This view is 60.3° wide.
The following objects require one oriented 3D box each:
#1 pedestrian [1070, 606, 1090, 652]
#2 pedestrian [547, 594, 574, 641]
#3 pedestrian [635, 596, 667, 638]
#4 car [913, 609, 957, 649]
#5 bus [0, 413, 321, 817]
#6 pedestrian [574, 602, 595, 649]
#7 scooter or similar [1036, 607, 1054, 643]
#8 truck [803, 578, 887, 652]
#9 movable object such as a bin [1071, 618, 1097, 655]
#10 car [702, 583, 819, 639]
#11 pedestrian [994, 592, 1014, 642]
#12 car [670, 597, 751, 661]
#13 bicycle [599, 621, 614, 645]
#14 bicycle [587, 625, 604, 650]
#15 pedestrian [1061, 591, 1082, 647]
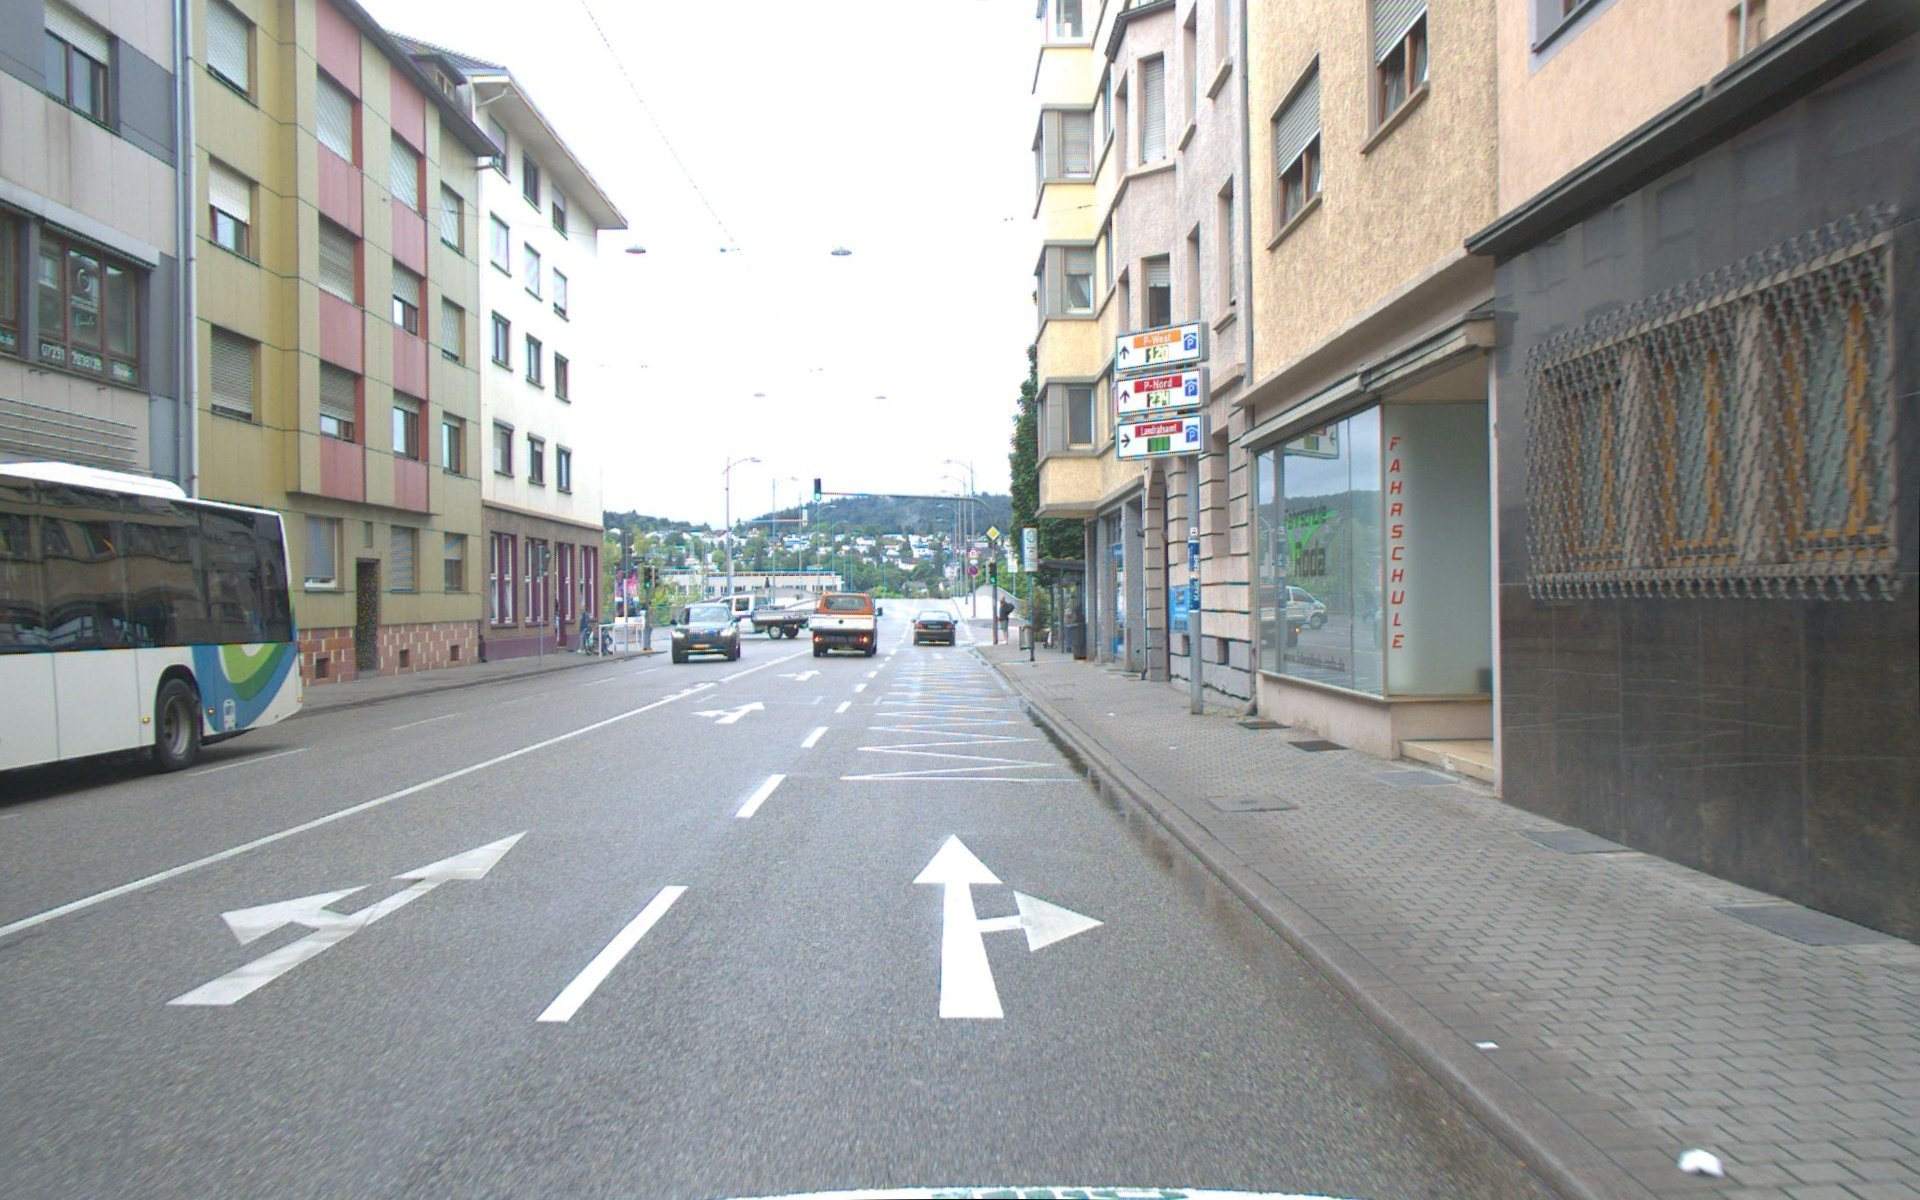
[{"bbox_3d":[3.787,0.907,52.223,0.552,1.421,0.513,-1,-1,-4],"label":"pedestrian"},{"bbox_3d":[-13.653,0.590,56.574,0.758,1.605,0.588,-1,-1,-2],"label":"pedestrian"},{"bbox_3d":[-15.196,0.849,81.393,0.966,2.049,1.170,-1,-1,36],"label":"pedestrian"},{"bbox_3d":[-1.015,1.146,66.701,1.718,1.505,3.999,-1,0,-1],"label":"car"},{"bbox_3d":[-9.083,0.150,15.540,2.670,3.244,9.290,-1,0,-1],"label":"bus"},{"bbox_3d":[-12.825,0.878,56.452,0.563,1.581,0.739,-1,-1,-4],"label":"pedestrian"},{"bbox_3d":[2.877,0.841,55.907,0.500,1.193,1.549,-1,0,-1],"label":"scooter or similar"},{"bbox_3d":[-3.555,0.474,52.210,2.351,2.167,5.313,-1,0,-1],"label":"truck"},{"bbox_3d":[3.219,0.944,43.050,0.588,0.942,0.704,-1,-1,-1],"label":"movable object such as a bin"},{"bbox_3d":[-8.986,0.502,74.489,4.891,2.392,2.000,-1,-1,23],"label":"car"},{"bbox_3d":[1.686,0.646,63.280,0.718,1.873,0.630,-1,-1,-3],"label":"pedestrian"},{"bbox_3d":[-7.370,0.836,49.195,1.892,1.788,4.570,-1,0,-3],"label":"car"},{"bbox_3d":[-11.770,1.093,55.048,0.259,0.797,1.111,-1,0,-1],"label":"bicycle"},{"bbox_3d":[-12.080,1.245,54.867,0.259,0.797,1.421,-1,0,-1],"label":"bicycle"},{"bbox_3d":[3.439,0.585,51.072,0.606,1.729,0.656,-1,-1,3],"label":"pedestrian"}]
